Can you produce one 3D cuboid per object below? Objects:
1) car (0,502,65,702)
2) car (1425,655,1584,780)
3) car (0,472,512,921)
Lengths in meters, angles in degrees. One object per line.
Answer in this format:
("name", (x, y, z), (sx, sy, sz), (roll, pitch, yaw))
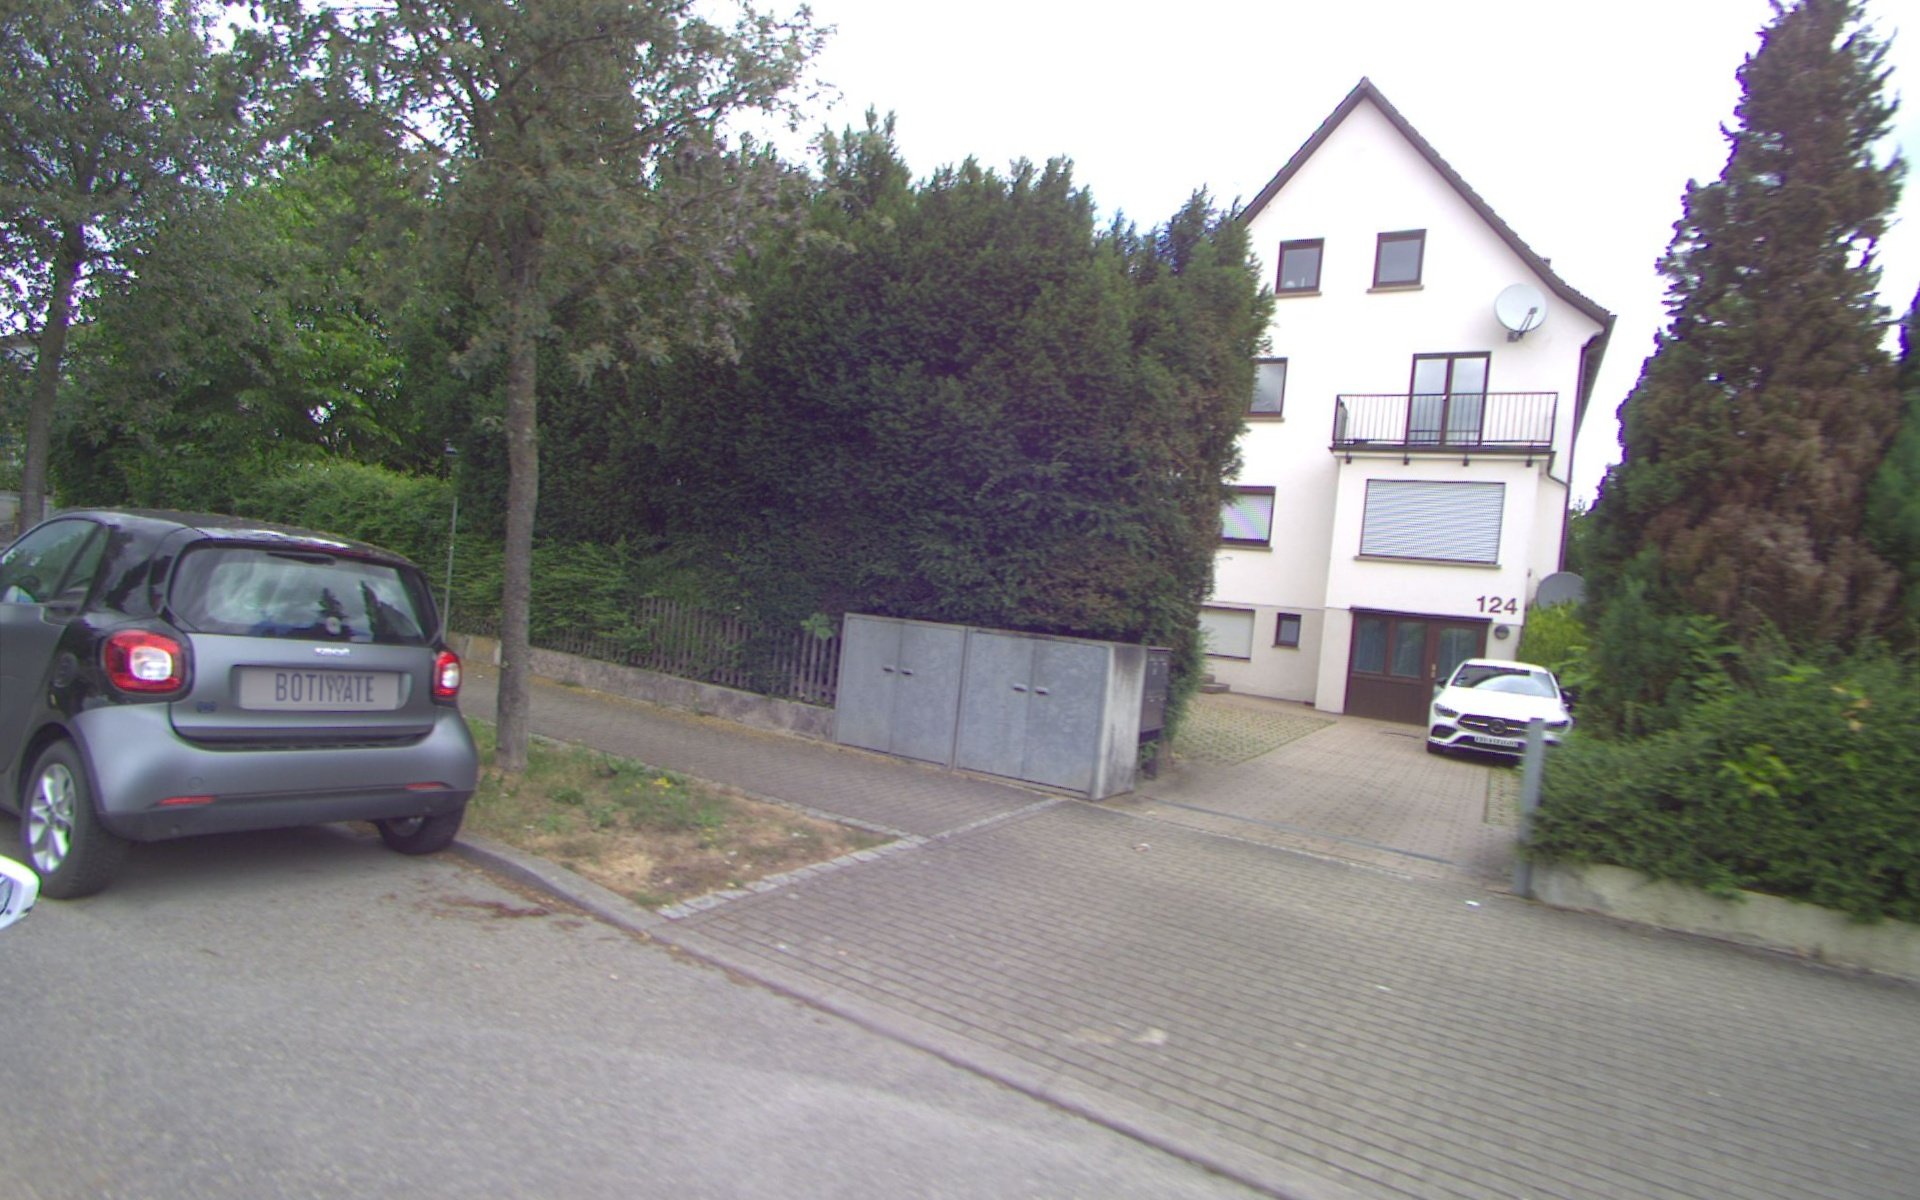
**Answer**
("car", (-9.053, -0.232, 7.938), (4.267, 1.450, 1.699), (7, 0, 31))
("car", (8.314, 1.661, 15.412), (1.770, 1.435, 3.992), (6, 1, 29))
("car", (-4.439, 0.272, 5.272), (3.888, 1.574, 1.700), (6, -3, 30))
